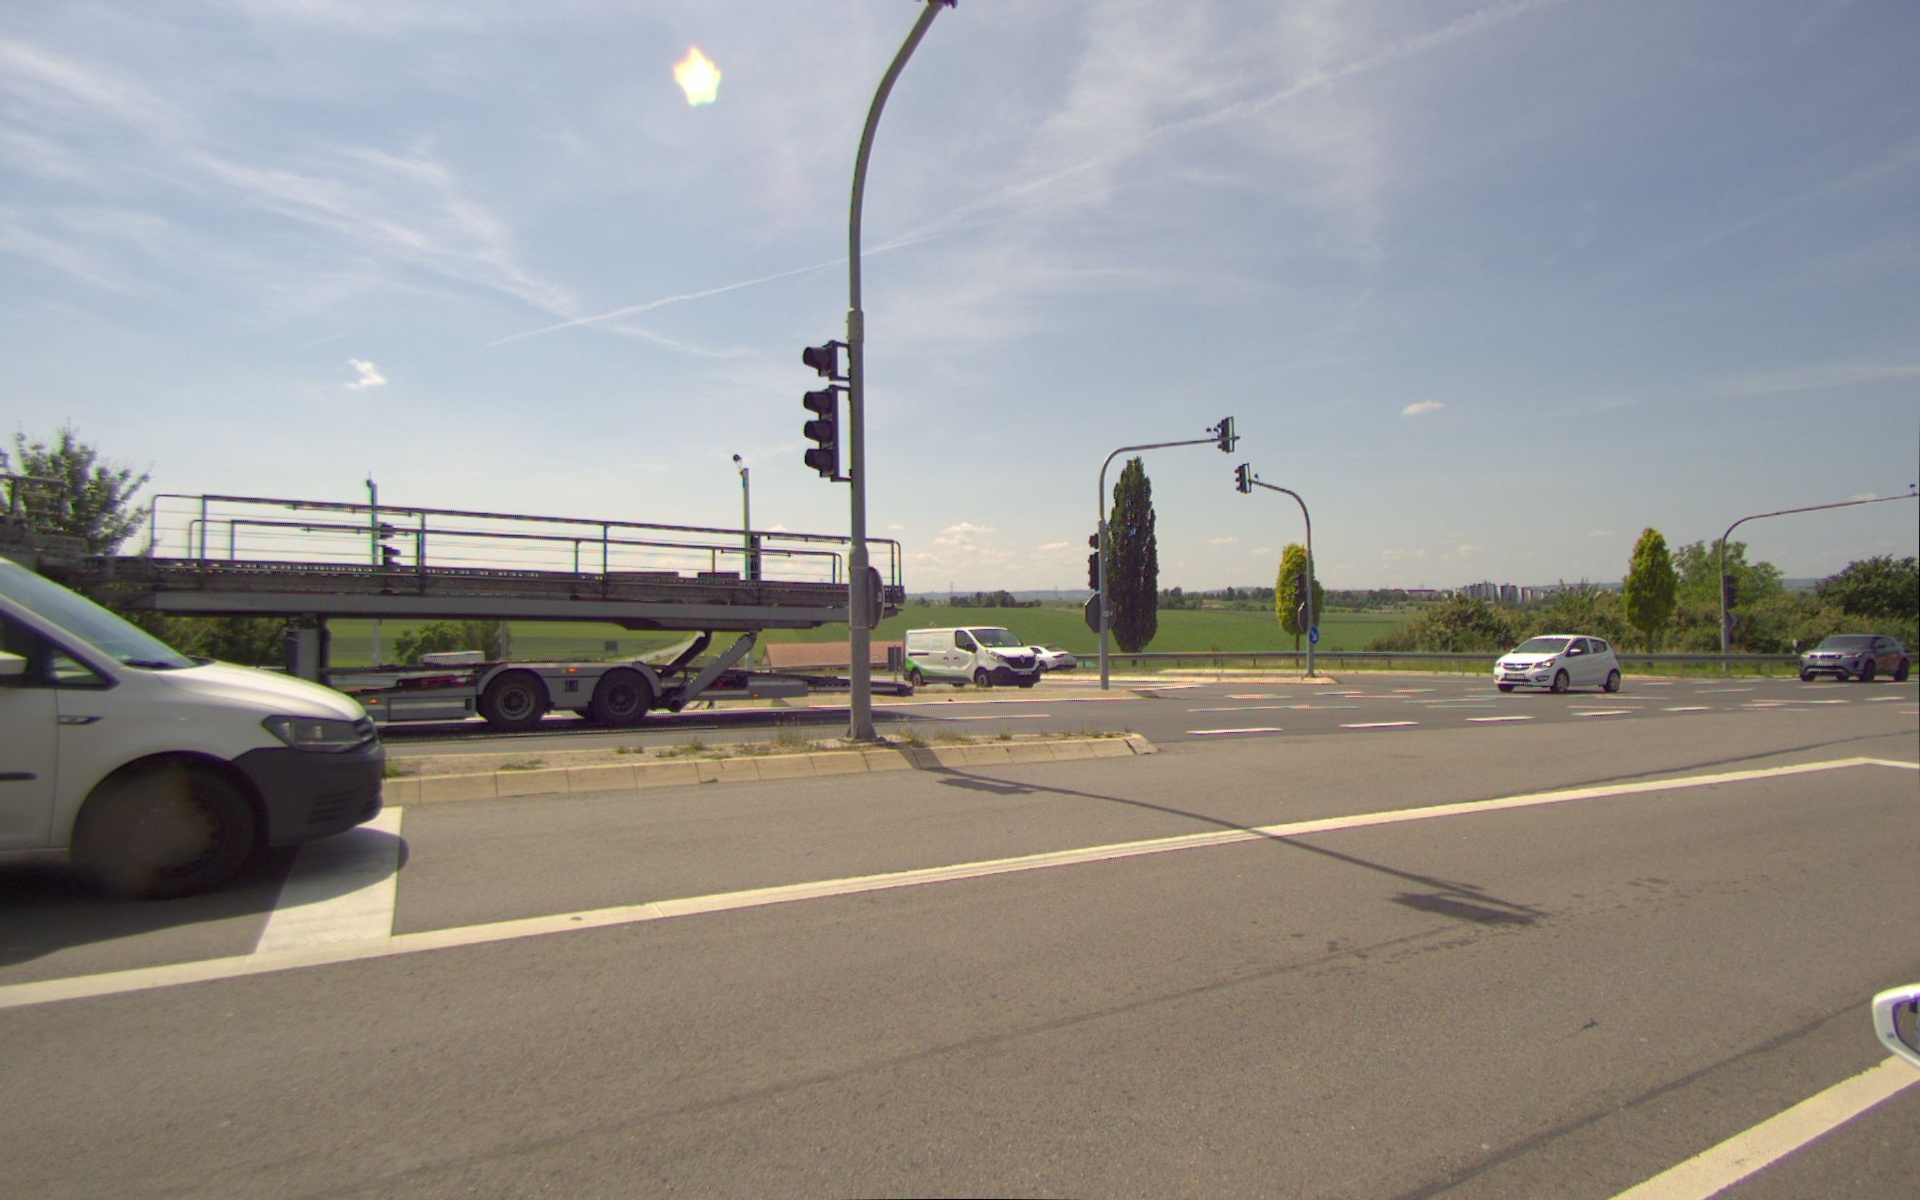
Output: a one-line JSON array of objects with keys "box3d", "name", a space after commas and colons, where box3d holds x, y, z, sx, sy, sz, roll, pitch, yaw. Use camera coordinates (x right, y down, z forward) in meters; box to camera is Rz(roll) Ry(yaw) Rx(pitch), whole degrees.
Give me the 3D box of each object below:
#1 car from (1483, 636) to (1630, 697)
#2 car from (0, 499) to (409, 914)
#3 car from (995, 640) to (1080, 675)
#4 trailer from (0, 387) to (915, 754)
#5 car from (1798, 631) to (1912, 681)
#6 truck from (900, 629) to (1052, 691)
[{"box3d": [15.609, 1.721, 26.272, 3.754, 1.516, 1.638, 2, -3, -28], "name": "car"}, {"box3d": [-5.323, 0.443, 4.762, 4.697, 1.822, 1.759, 1, 0, -31], "name": "car"}, {"box3d": [3.849, 2.862, 50.732, 1.620, 1.479, 4.440, 2, -1, -40], "name": "car"}, {"box3d": [-9.847, -0.262, 12.059, 19.564, 3.813, 2.627, 2, -2, -30], "name": "trailer"}, {"box3d": [30.988, 1.947, 34.750, 4.276, 1.645, 1.637, 2, -3, -29], "name": "car"}, {"box3d": [0.395, 1.839, 31.276, 1.981, 1.779, 5.228, 2, -3, -37], "name": "truck"}]
